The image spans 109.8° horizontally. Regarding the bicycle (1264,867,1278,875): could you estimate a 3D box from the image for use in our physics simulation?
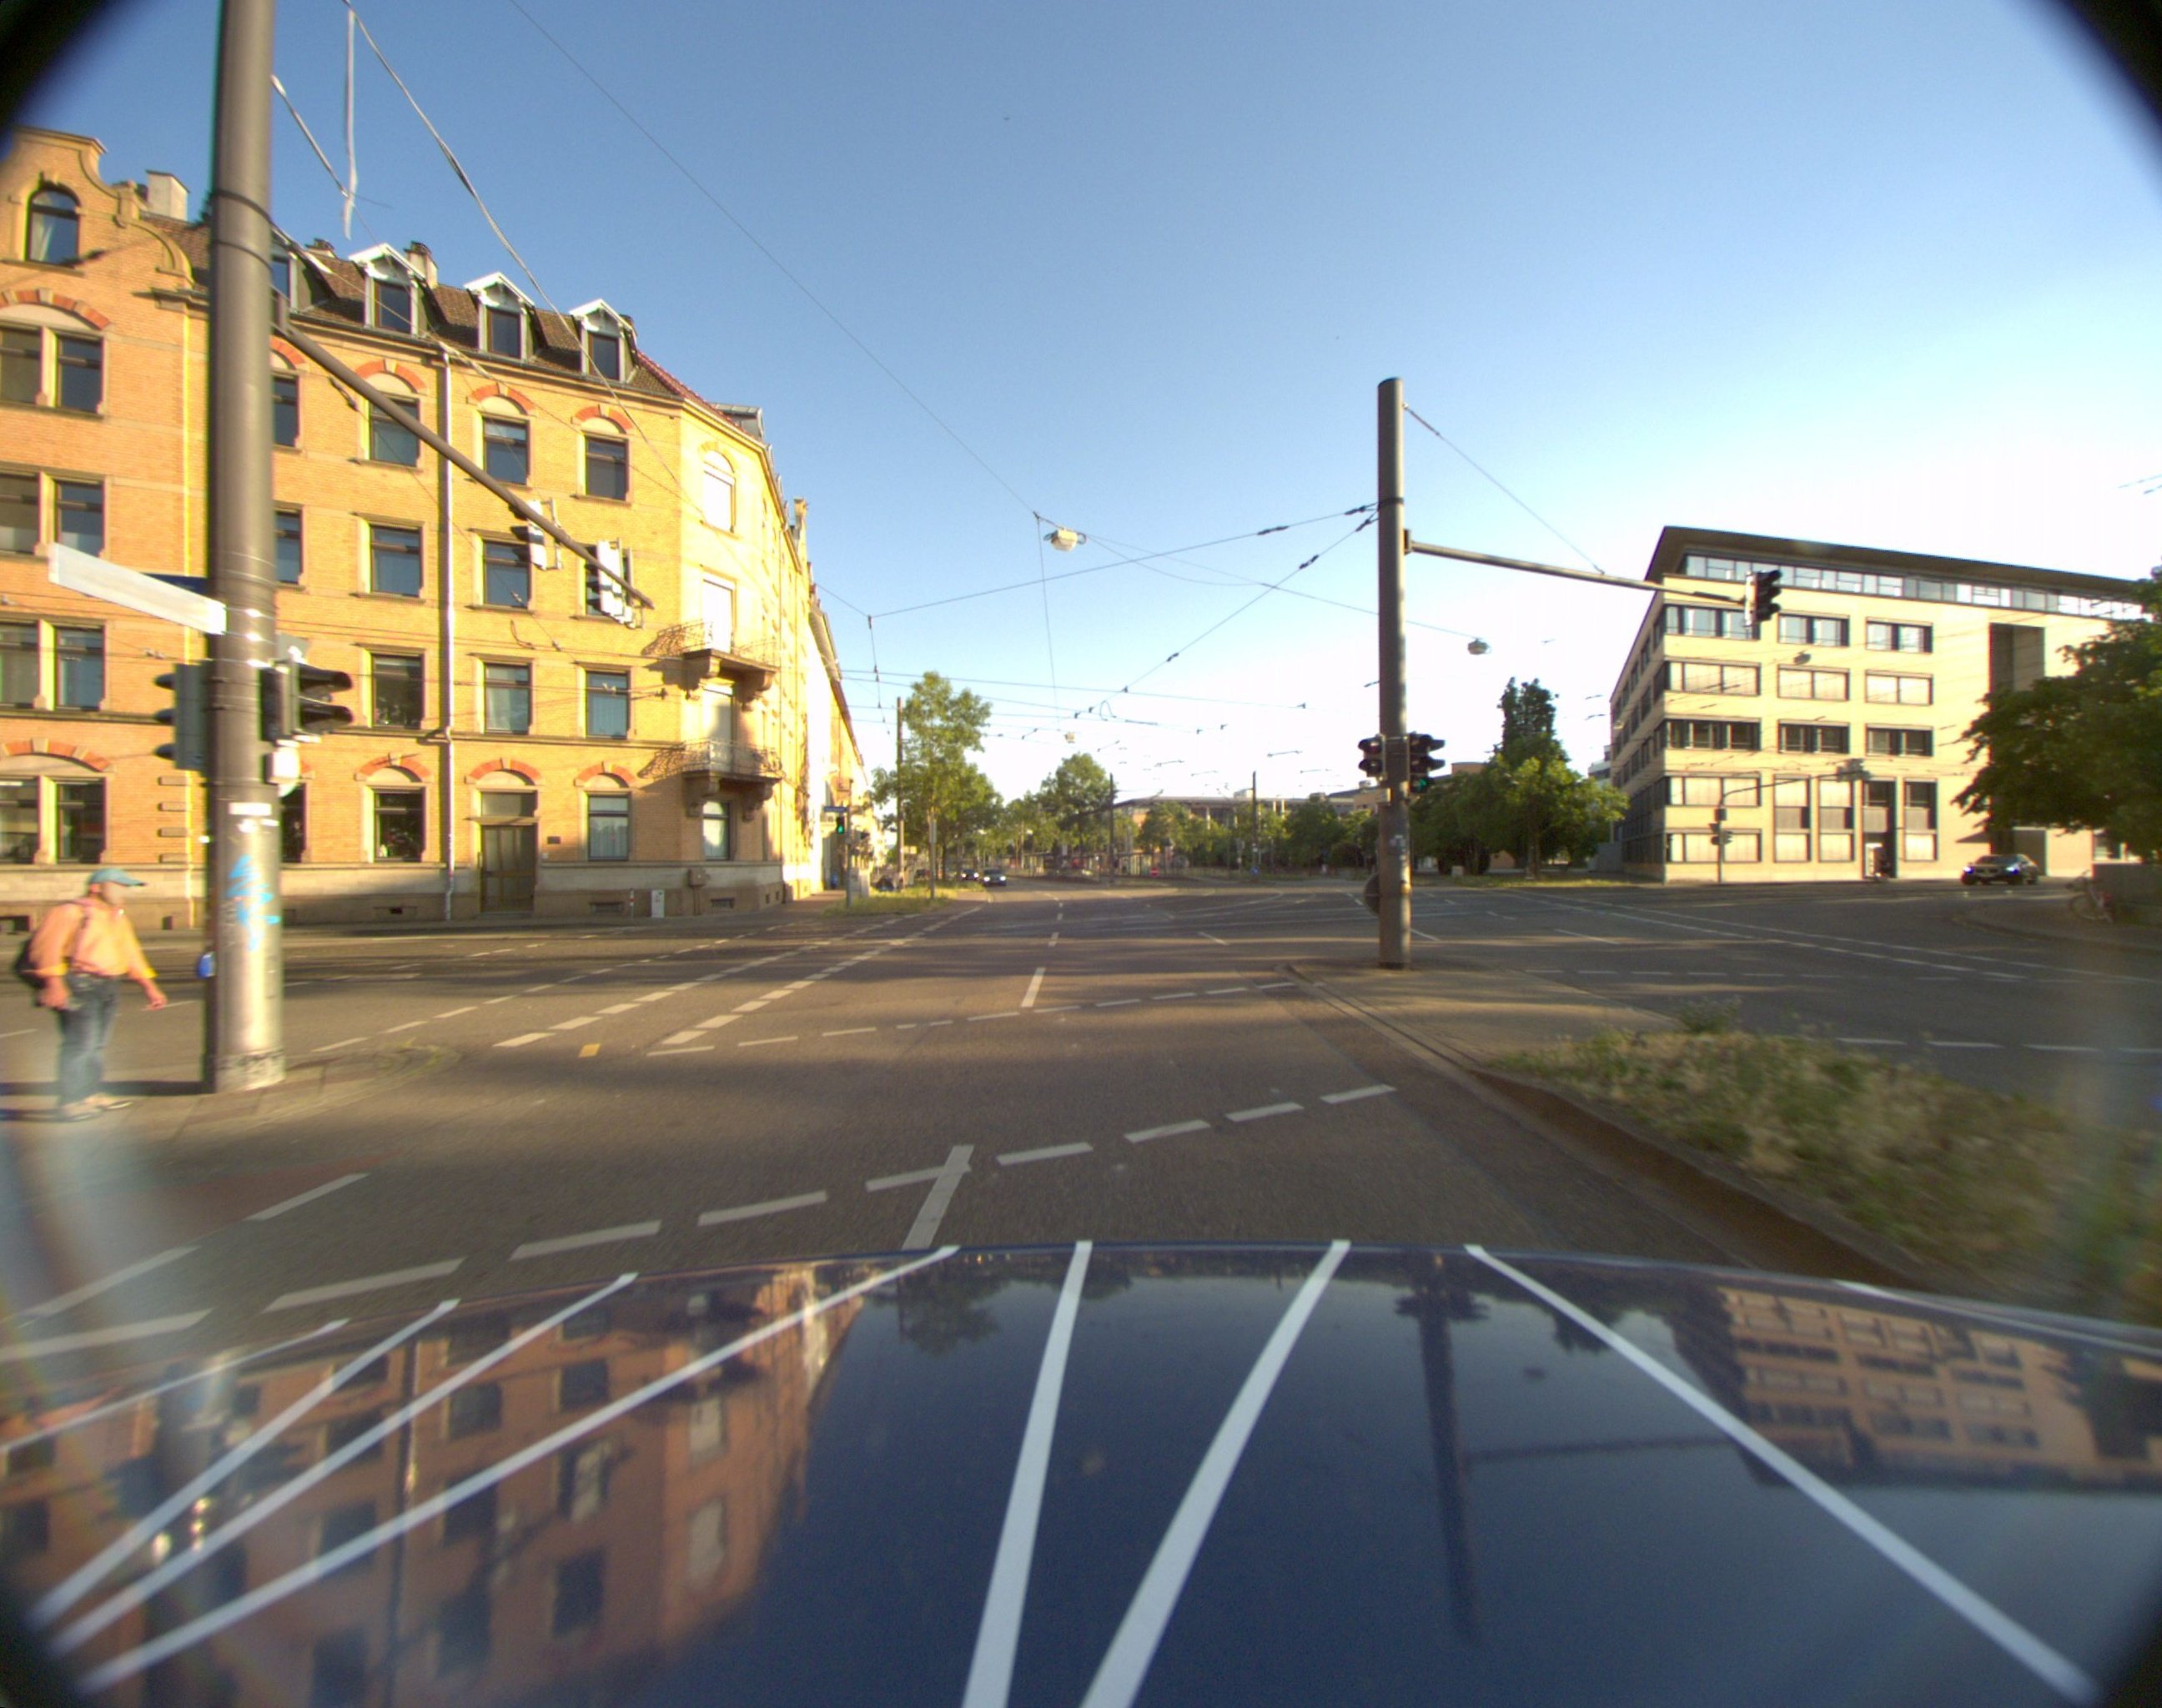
[{"bbox_3d":[21.477,1.931,86.097,0.777,0.816,1.964,-1,0,-11],"label":"bicycle"}]

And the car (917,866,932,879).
[{"bbox_3d":[-19.862,2.299,96.136,1.710,1.440,4.284,-4,0,-13],"label":"car"}]

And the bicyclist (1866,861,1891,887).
[{"bbox_3d":[43.996,1.108,41.910,0.744,1.444,0.667,0,0,-13],"label":"bicyclist"}]

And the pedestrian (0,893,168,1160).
[{"bbox_3d":[-6.747,1.082,5.027,0.553,1.619,0.699,-1,0,-4],"label":"pedestrian"}]

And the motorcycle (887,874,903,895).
[{"bbox_3d":[-9.652,1.589,39.470,0.606,1.038,1.743,-1,0,-6],"label":"motorcycle"}]

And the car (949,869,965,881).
[{"bbox_3d":[-16.932,2.849,103.921,2.000,1.655,3.998,0,0,-6],"label":"car"}]

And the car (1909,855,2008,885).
[{"bbox_3d":[46.623,0.842,40.385,4.003,1.477,1.997,0,0,-17],"label":"car"}]

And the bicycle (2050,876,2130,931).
[{"bbox_3d":[22.578,1.078,17.035,0.557,1.135,1.726,-1,-1,35],"label":"bicycle"}]

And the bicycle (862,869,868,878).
[{"bbox_3d":[-27.651,2.490,97.270,0.485,1.158,1.744,5,-2,-13],"label":"bicycle"}]

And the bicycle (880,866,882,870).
[{"bbox_3d":[-49.253,3.448,187.231,0.581,0.984,1.926,-1,0,-14],"label":"bicycle"}]

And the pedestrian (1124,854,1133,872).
[{"bbox_3d":[5.544,1.039,88.899,0.772,2.002,1.126,-1,0,-11],"label":"pedestrian"}]

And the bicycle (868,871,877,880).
[{"bbox_3d":[-22.263,2.328,81.160,0.736,0.942,2.337,1,-1,-10],"label":"bicycle"}]

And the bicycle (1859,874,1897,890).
[{"bbox_3d":[43.951,1.532,41.904,1.692,0.828,0.657,0,0,-13],"label":"bicycle"}]

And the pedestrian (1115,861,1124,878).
[{"bbox_3d":[4.562,1.817,89.591,0.772,2.002,1.126,-1,0,-11],"label":"pedestrian"}]

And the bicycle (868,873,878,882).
[{"bbox_3d":[-21.548,2.425,78.705,0.875,0.910,2.082,1,-1,-12],"label":"bicycle"}]

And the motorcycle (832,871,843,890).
[{"bbox_3d":[-16.040,1.727,50.027,0.555,1.207,2.070,-2,0,-15],"label":"motorcycle"}]

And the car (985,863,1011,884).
[{"bbox_3d":[-6.733,1.536,61.609,2.000,1.655,3.998,0,0,-6],"label":"car"}]

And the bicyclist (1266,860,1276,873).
[{"bbox_3d":[21.485,1.460,86.006,0.770,1.459,0.827,-1,0,-11],"label":"bicyclist"}]
